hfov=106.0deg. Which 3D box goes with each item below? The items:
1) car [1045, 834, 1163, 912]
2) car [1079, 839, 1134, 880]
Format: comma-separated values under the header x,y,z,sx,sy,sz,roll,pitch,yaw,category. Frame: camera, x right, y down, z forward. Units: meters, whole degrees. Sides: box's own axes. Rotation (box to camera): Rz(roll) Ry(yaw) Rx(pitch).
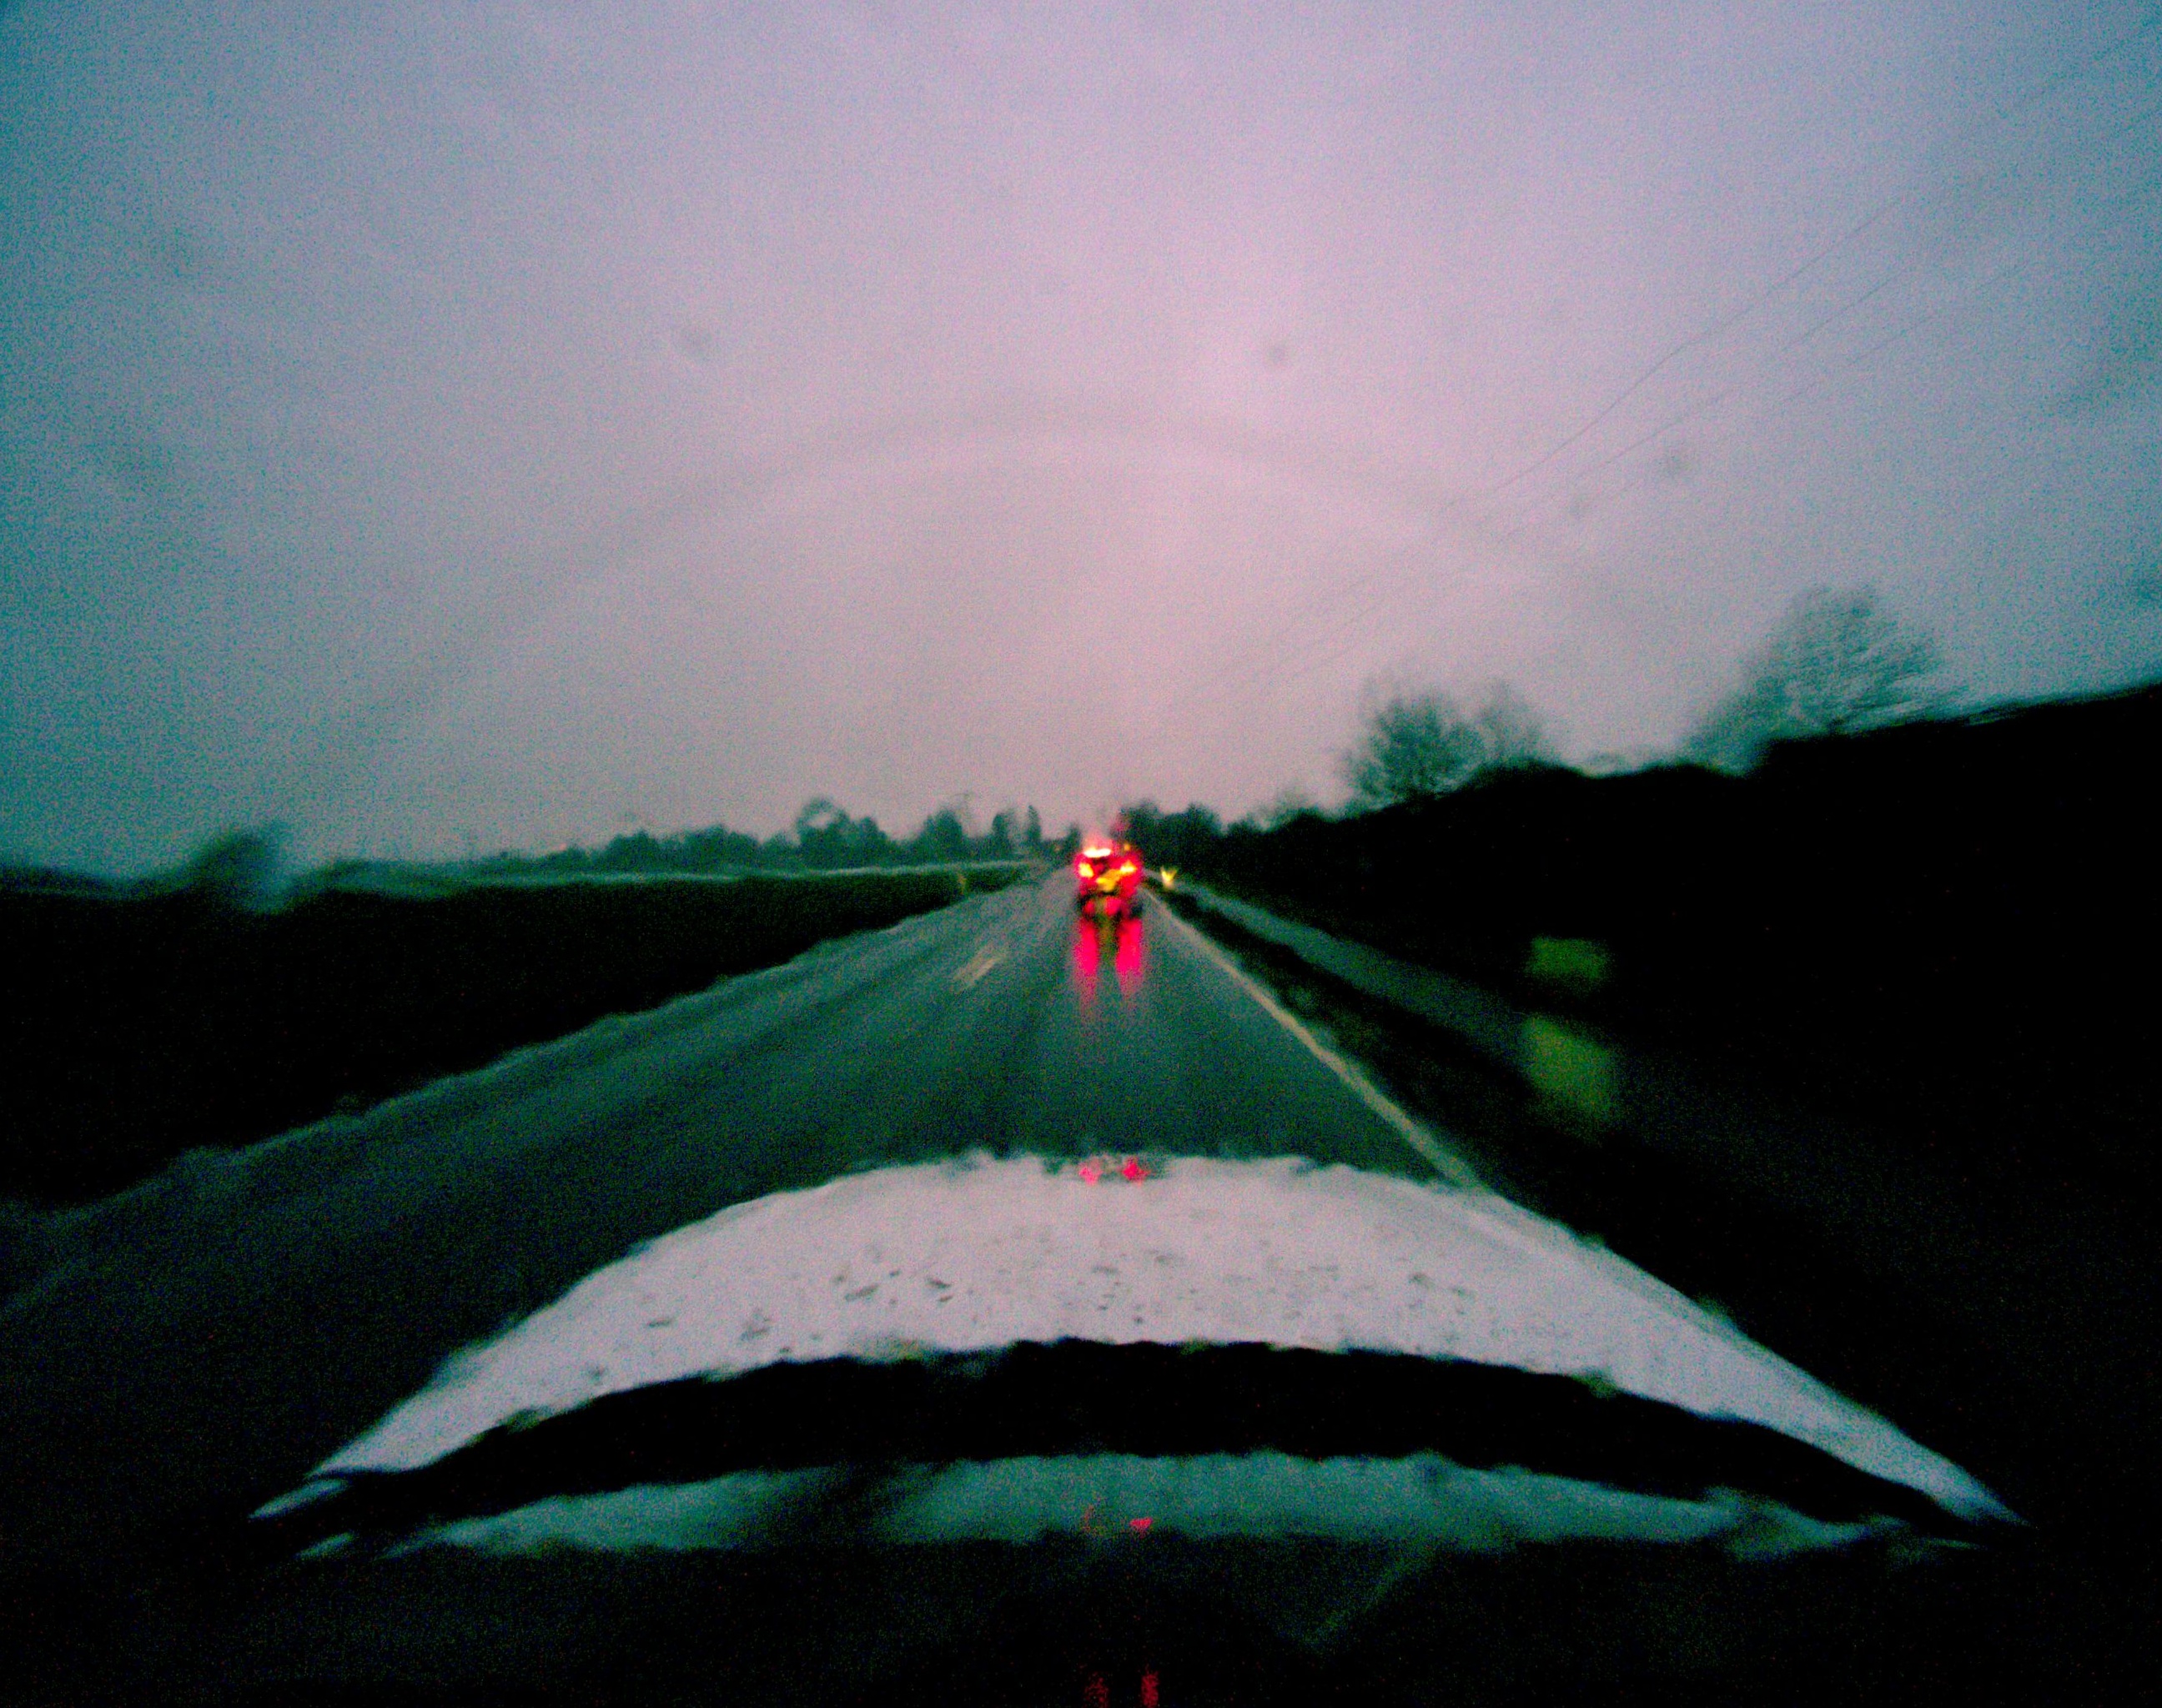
x,y,z,sx,sy,sz,roll,pitch,yaw,category
0.755,0.504,25.533,3.152,2.035,6.855,-2,0,2,car
1.408,0.274,44.817,2.745,2.035,6.594,-2,0,2,car
